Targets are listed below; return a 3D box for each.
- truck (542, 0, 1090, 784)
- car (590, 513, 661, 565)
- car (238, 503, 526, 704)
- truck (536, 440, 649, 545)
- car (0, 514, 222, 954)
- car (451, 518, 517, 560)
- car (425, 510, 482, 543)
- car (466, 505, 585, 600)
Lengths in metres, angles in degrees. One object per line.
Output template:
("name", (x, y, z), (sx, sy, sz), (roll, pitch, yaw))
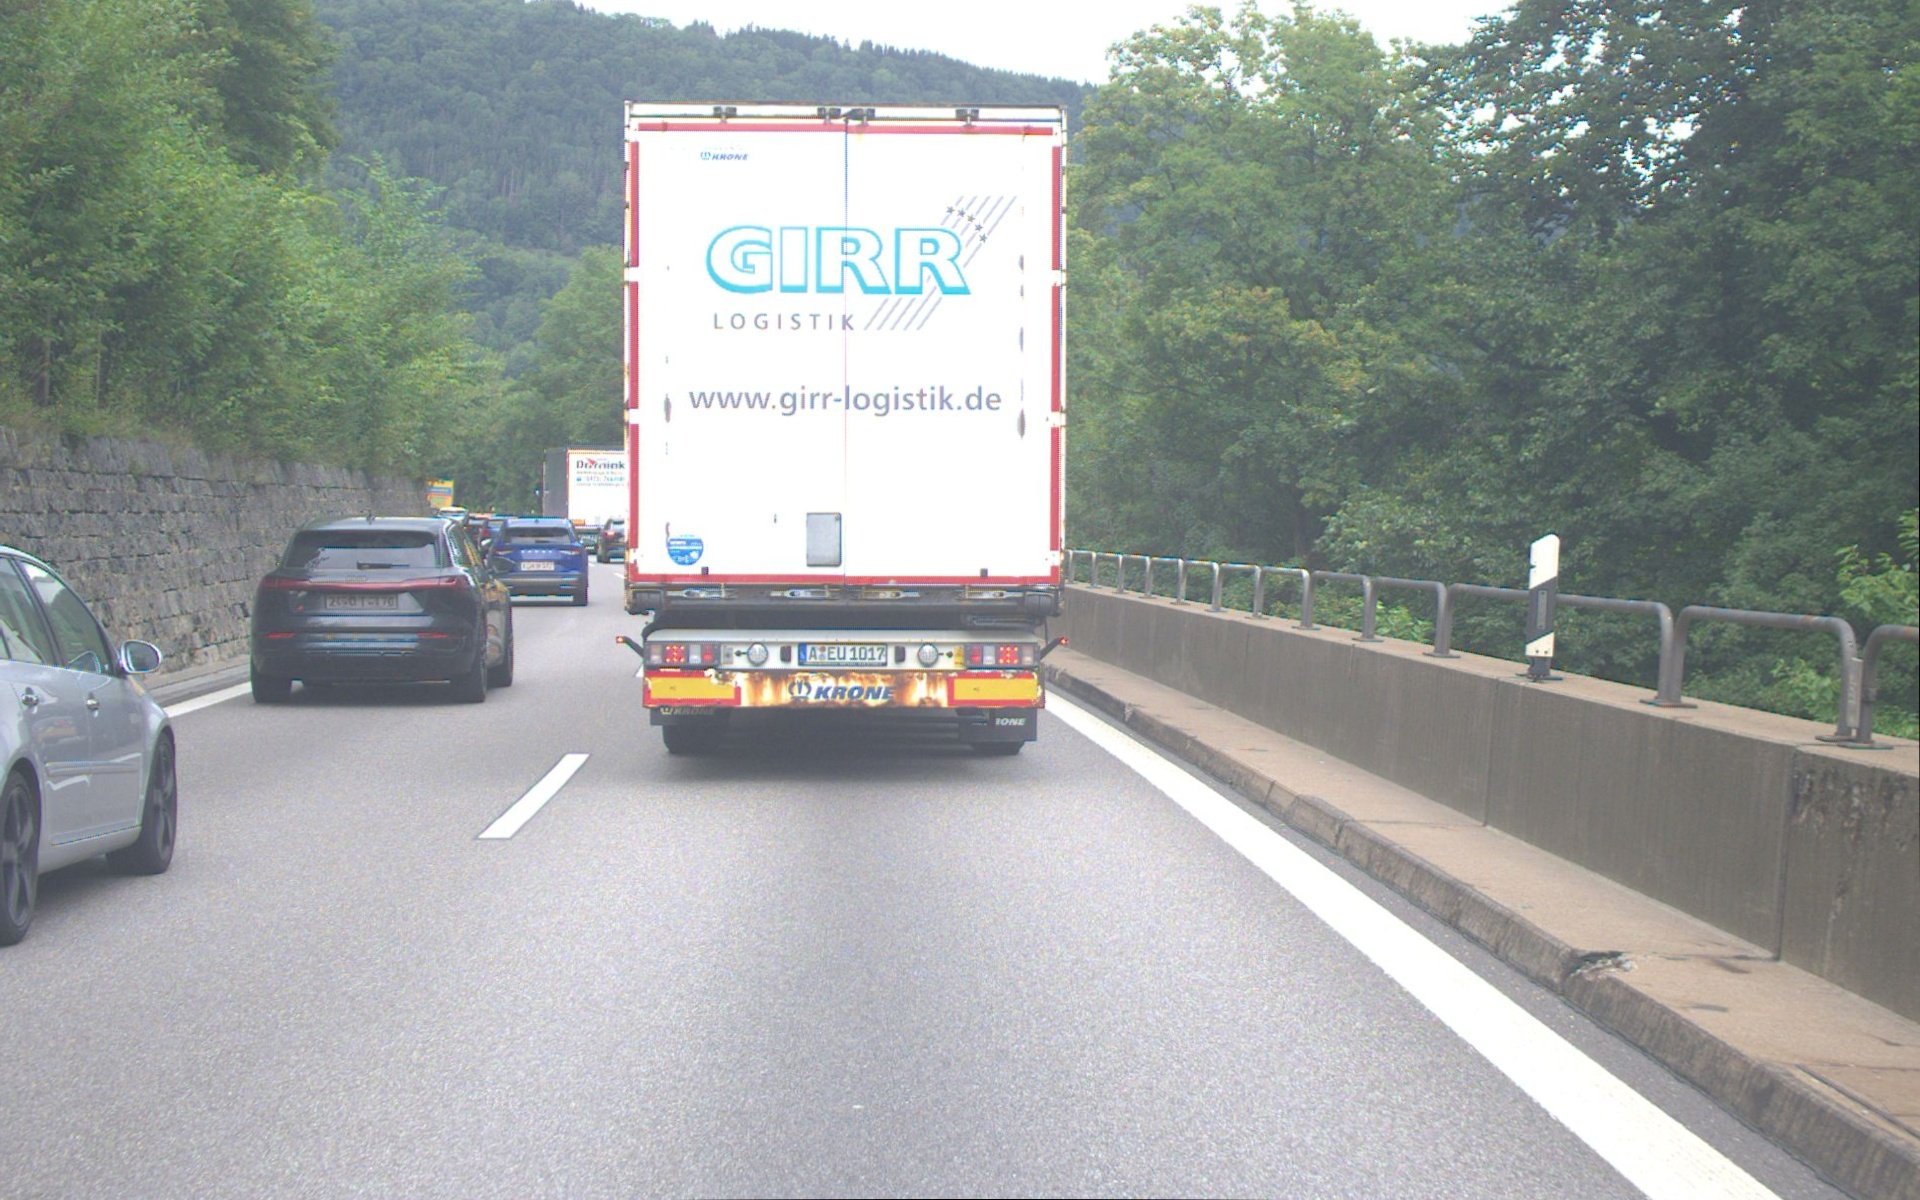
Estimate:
("truck", (-1.074, -1.326, 27.058), (3.084, 4.448, 15.157), (0, 1, -2))
("car", (-10.773, -1.973, 110.578), (2.060, 1.648, 4.001), (0, 1, -9))
("car", (-5.055, -0.016, 30.700), (1.993, 1.626, 5.009), (0, 1, -3))
("truck", (-14.258, -4.078, 132.451), (2.633, 3.844, 12.363), (0, 1, -14))
("car", (-4.191, 0.459, 13.616), (1.681, 1.510, 4.583), (0, 0, -2))
("car", (-18.668, -2.406, 134.723), (1.993, 1.590, 4.355), (-1, 2, -15))
("car", (-24.893, -3.627, 168.947), (1.896, 1.545, 4.251), (1, 1, -21))
("car", (-8.120, -0.918, 63.946), (1.993, 1.626, 5.010), (0, 2, -10))
